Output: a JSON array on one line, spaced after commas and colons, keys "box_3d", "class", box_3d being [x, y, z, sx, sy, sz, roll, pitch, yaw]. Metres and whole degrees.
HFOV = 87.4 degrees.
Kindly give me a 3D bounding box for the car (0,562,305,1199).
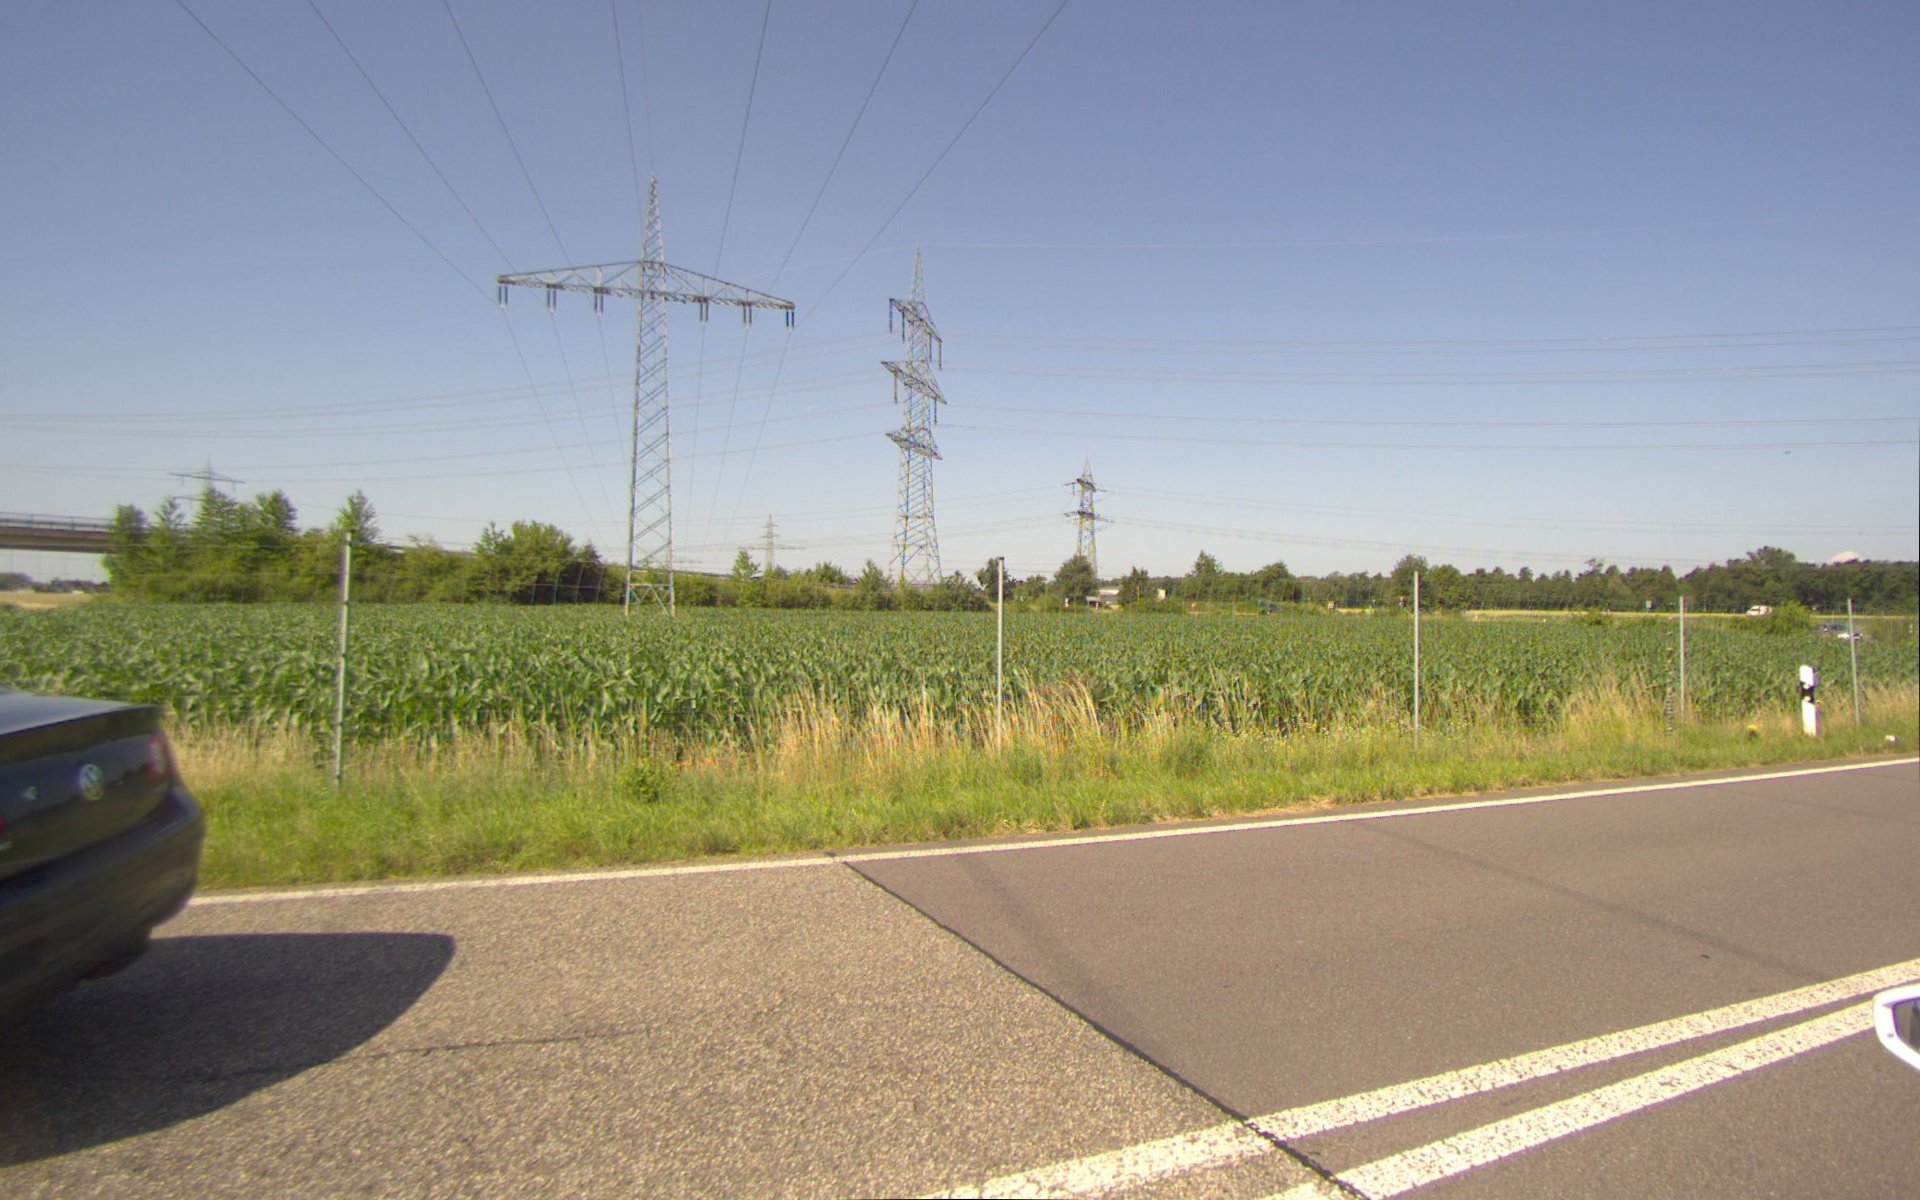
[{"box_3d": [-4.569, 0.616, 2.524, 4.515, 1.476, 1.775, 1, -1, -15], "class": "car"}]
